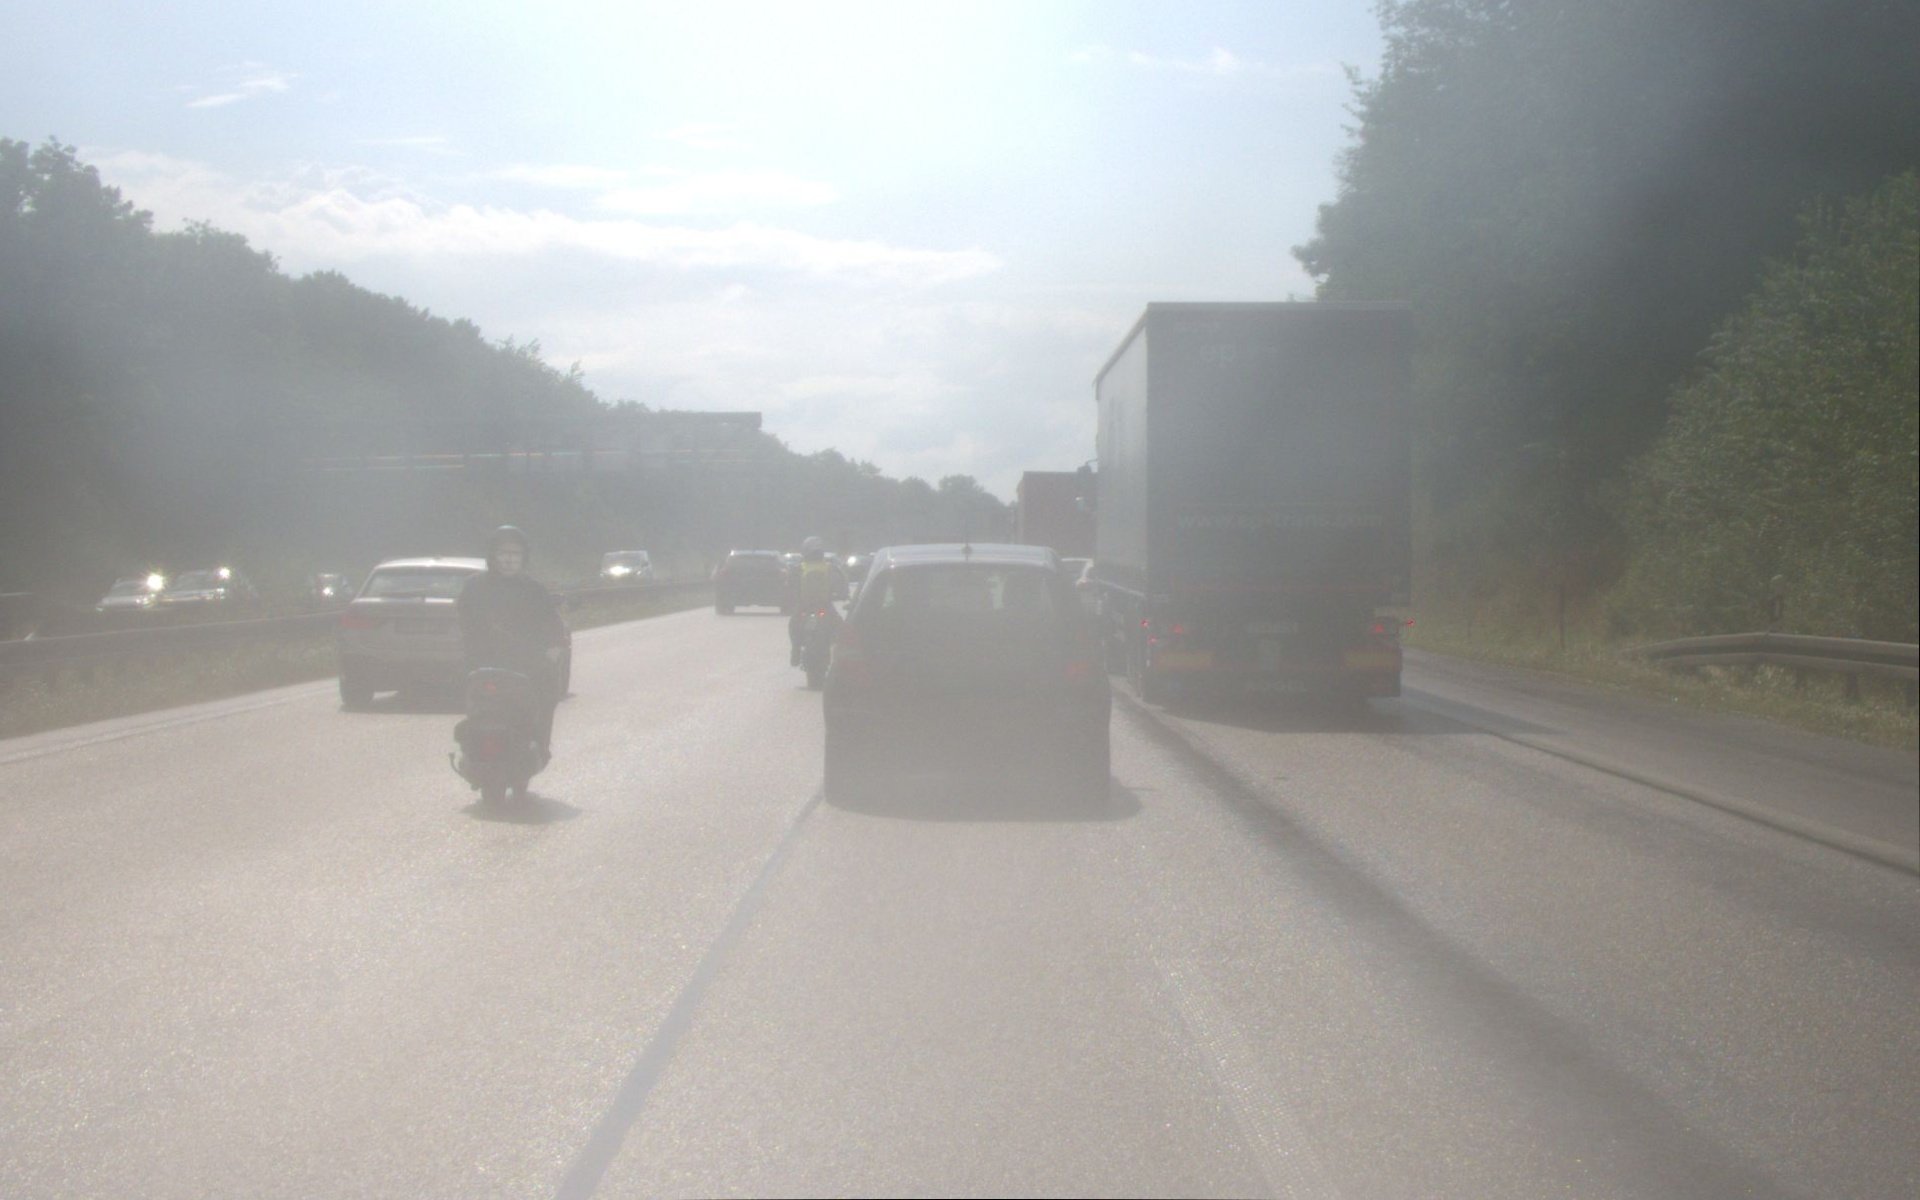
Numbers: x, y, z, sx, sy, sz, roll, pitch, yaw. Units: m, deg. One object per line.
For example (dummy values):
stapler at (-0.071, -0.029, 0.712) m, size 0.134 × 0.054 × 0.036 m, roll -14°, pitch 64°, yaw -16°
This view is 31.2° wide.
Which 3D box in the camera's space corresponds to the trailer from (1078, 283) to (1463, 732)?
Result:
trailer at (3.223, -0.976, 40.053) m, size 3.088 × 4.298 × 14.105 m, roll 0°, pitch 1°, yaw 0°

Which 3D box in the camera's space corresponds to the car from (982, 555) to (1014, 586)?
car at (2.546, -1.976, 230.123) m, size 1.993 × 2.007 × 4.000 m, roll 1°, pitch 0°, yaw -1°

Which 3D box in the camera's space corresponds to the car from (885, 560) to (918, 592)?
car at (-3.610, -1.491, 213.548) m, size 1.993 × 2.007 × 4.000 m, roll 1°, pitch 0°, yaw 0°

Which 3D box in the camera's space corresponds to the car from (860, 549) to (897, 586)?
car at (-4.570, -1.819, 193.810) m, size 1.993 × 2.007 × 4.000 m, roll 1°, pitch 0°, yaw 0°

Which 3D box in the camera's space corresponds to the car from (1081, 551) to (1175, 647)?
car at (3.602, -0.041, 74.324) m, size 1.849 × 2.007 × 4.087 m, roll 1°, pitch 0°, yaw 0°

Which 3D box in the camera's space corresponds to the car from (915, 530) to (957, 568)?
car at (-0.961, -1.996, 135.709) m, size 1.632 × 1.485 × 3.437 m, roll 0°, pitch 1°, yaw 0°

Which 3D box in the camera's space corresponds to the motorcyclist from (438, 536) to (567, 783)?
motorcyclist at (-2.726, 0.342, 20.566) m, size 0.670 × 1.437 × 1.020 m, roll 1°, pitch 0°, yaw -3°

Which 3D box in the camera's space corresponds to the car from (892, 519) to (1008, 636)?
car at (-0.200, -0.396, 61.542) m, size 1.993 × 2.007 × 4.000 m, roll 1°, pitch 0°, yaw -1°

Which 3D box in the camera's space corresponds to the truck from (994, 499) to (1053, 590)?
truck at (3.331, -2.930, 184.465) m, size 2.882 × 4.671 × 12.659 m, roll 1°, pitch 0°, yaw 0°

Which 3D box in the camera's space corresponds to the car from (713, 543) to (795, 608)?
car at (-5.269, -0.646, 88.309) m, size 1.893 × 1.622 × 4.195 m, roll 0°, pitch 1°, yaw 0°

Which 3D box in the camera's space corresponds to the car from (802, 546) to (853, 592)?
car at (-4.653, -1.105, 121.330) m, size 1.675 × 1.591 × 3.437 m, roll 0°, pitch 1°, yaw 0°

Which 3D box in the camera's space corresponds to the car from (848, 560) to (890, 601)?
car at (-4.574, -0.993, 173.009) m, size 1.993 × 2.007 × 4.000 m, roll 1°, pitch 0°, yaw 0°

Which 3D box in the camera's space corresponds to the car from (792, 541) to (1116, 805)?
car at (-0.051, 0.406, 22.545) m, size 1.915 × 1.560 × 4.314 m, roll 0°, pitch 1°, yaw 0°

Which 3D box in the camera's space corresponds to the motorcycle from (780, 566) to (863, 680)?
motorcycle at (-1.579, 0.243, 39.514) m, size 0.819 × 1.258 × 2.117 m, roll 1°, pitch 1°, yaw 1°

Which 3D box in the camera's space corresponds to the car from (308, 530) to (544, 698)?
car at (-5.373, 0.108, 35.050) m, size 1.758 × 1.589 × 4.331 m, roll 0°, pitch 1°, yaw 0°

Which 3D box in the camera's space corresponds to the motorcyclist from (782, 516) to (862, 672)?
motorcyclist at (-1.579, -0.069, 39.516) m, size 0.821 × 1.755 × 1.390 m, roll 1°, pitch 0°, yaw 1°

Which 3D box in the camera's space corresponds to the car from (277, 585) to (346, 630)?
car at (-22.083, 0.234, 117.246) m, size 1.631 × 1.477 × 3.786 m, roll 0°, pitch 1°, yaw 0°

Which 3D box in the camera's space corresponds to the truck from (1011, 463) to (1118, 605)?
truck at (3.295, -2.096, 111.103) m, size 3.202 × 4.389 × 9.432 m, roll 0°, pitch 1°, yaw 0°

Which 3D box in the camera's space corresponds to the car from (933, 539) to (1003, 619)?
car at (0.175, -0.527, 84.255) m, size 1.675 × 1.929 × 3.773 m, roll 0°, pitch 1°, yaw 0°

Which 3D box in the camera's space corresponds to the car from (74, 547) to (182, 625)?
car at (-22.778, -0.413, 94.251) m, size 1.993 × 2.007 × 4.000 m, roll 1°, pitch 1°, yaw -1°

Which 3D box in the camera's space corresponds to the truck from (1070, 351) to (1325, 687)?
truck at (3.163, -1.068, 47.290) m, size 3.052 × 4.310 × 5.886 m, roll 1°, pitch 0°, yaw 0°

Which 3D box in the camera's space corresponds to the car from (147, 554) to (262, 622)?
car at (-18.343, -0.312, 83.602) m, size 1.921 × 1.575 × 4.000 m, roll -1°, pitch 1°, yaw -1°

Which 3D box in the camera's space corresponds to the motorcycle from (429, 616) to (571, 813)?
motorcycle at (-2.740, 0.658, 20.618) m, size 0.676 × 1.083 × 1.982 m, roll 1°, pitch 1°, yaw -3°

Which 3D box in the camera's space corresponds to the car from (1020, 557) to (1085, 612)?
car at (2.519, -0.433, 94.111) m, size 1.675 × 1.485 × 3.437 m, roll 0°, pitch 1°, yaw 0°
